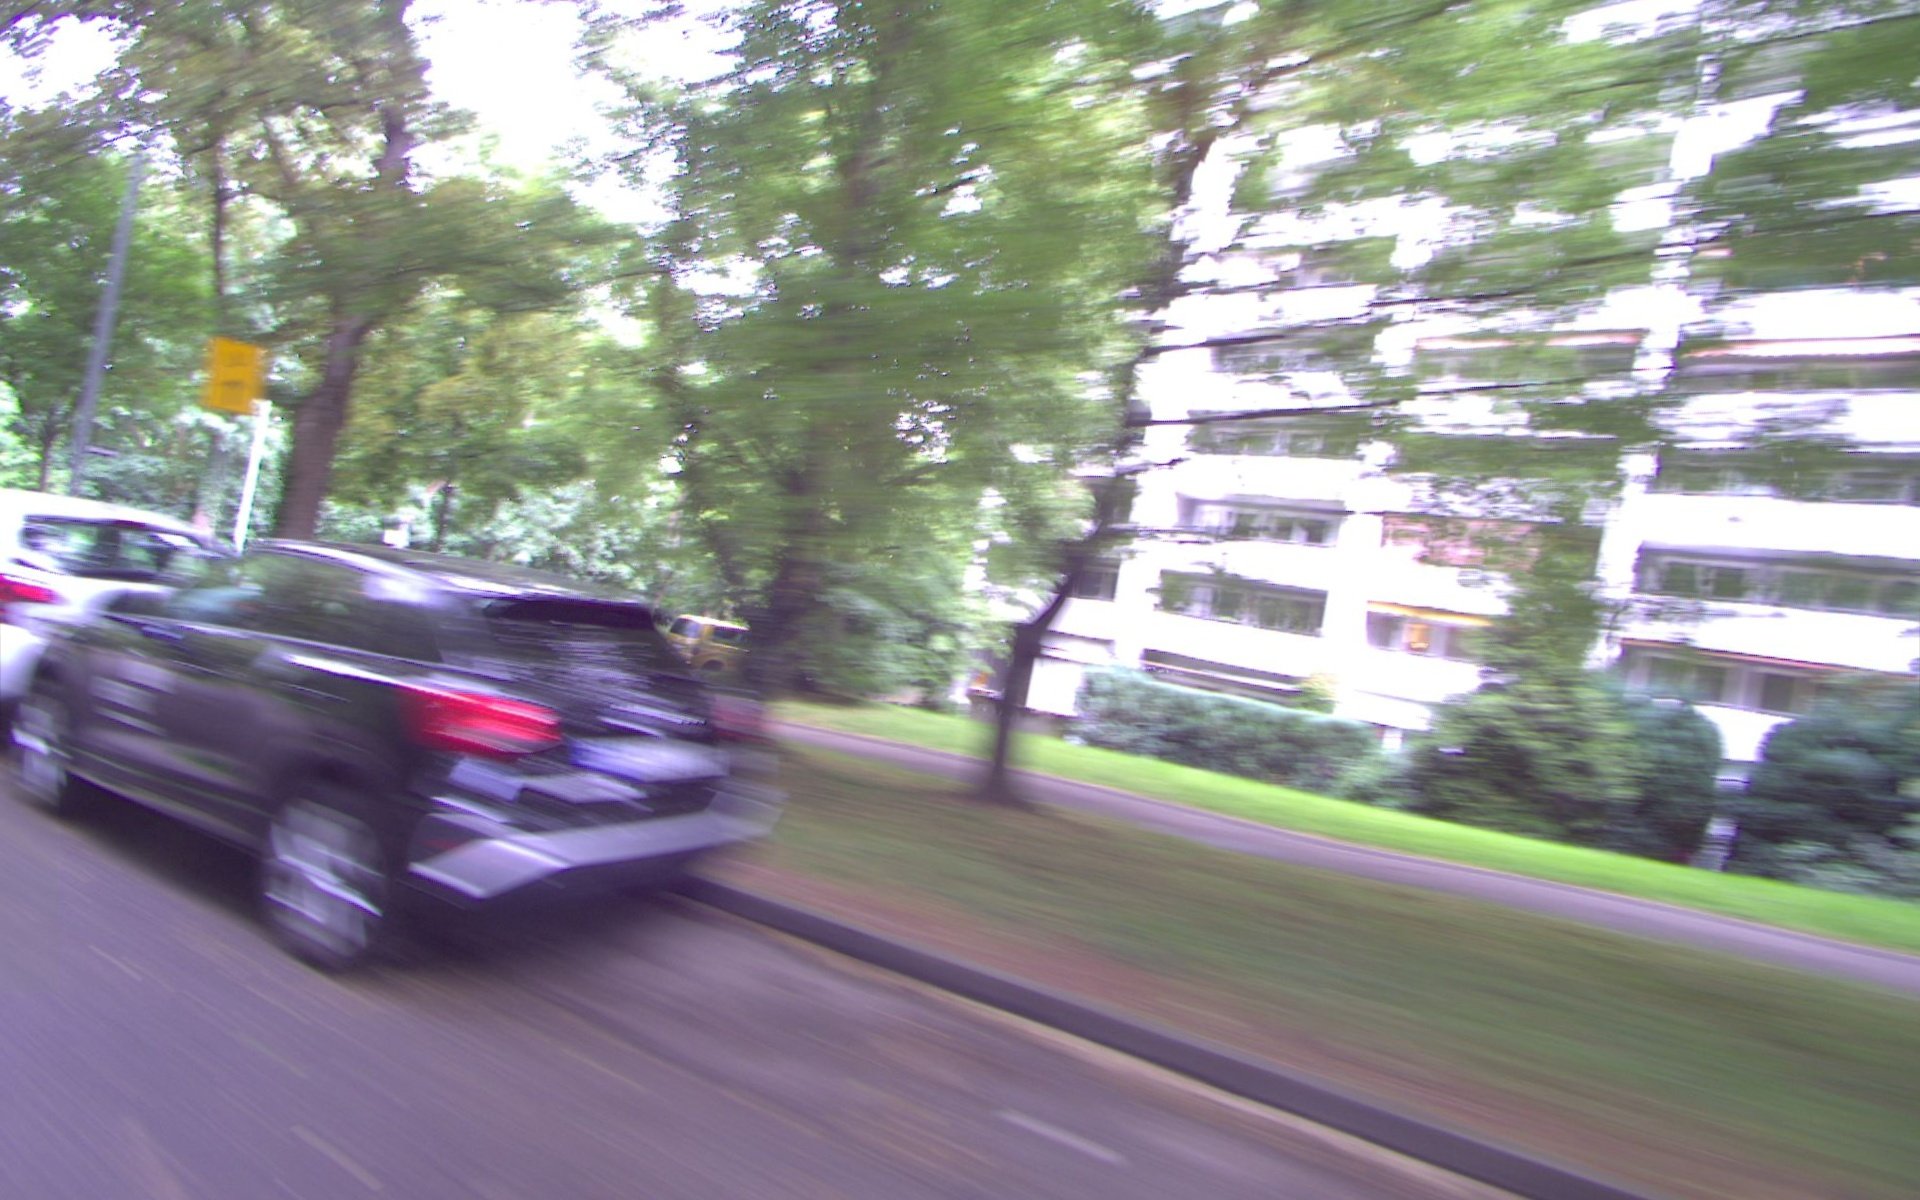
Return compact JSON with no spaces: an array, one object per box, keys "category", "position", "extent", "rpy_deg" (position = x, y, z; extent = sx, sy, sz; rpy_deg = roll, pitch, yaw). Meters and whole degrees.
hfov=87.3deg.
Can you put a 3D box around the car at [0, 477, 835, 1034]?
[{"category":"car","position":[-2.870,0.453,4.929],"extent":[4.113,1.539,1.779],"rpy_deg":[7,-3,32]}]

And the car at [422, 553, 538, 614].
[{"category":"car","position":[-22.120,-0.725,46.463],"extent":[1.968,2.035,4.215],"rpy_deg":[7,-3,34]}]

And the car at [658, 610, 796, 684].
[{"category":"car","position":[-8.115,1.700,35.412],"extent":[1.805,1.868,4.402],"rpy_deg":[8,-4,38]}]

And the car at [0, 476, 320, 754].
[{"category":"car","position":[-6.649,-0.038,7.092],"extent":[3.714,1.539,1.781],"rpy_deg":[8,-3,26]}]

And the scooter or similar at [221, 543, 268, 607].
[{"category":"scooter or similar","position":[-16.105,-0.573,22.649],"extent":[1.090,1.300,0.283],"rpy_deg":[8,-2,32]}]

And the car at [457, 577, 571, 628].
[{"category":"car","position":[-19.782,0.145,44.772],"extent":[1.771,1.515,4.215],"rpy_deg":[7,-4,34]}]

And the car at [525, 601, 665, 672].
[{"category":"car","position":[-11.375,1.167,31.517],"extent":[1.807,1.586,3.517],"rpy_deg":[7,-4,42]}]
